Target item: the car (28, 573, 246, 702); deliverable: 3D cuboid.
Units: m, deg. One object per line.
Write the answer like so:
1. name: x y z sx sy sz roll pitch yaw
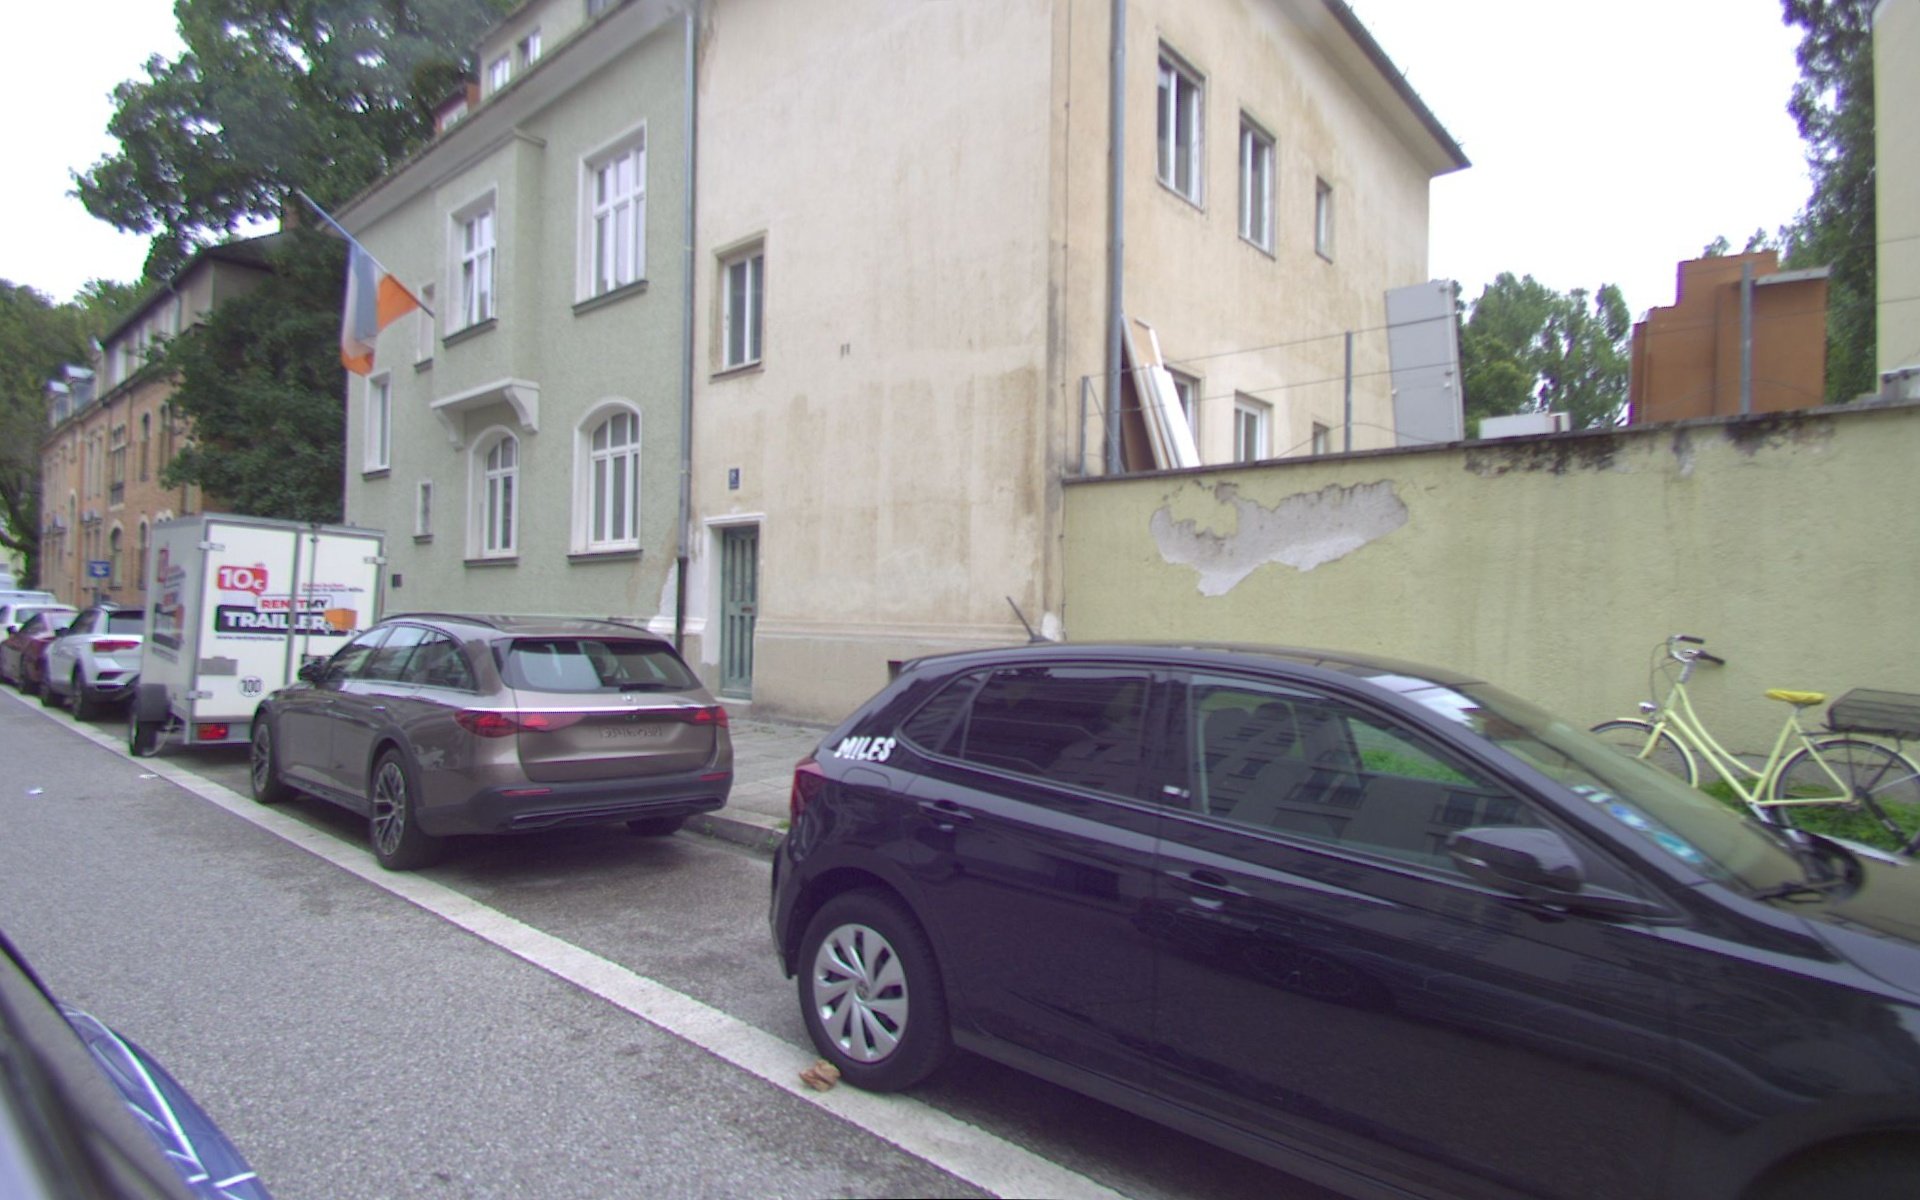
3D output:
1. car: -11.886 0.498 14.537 3.919 1.615 1.669 1 -3 41

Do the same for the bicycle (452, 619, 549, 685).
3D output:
1. bicycle: -7.112 0.775 15.619 1.926 0.913 0.517 1 2 38

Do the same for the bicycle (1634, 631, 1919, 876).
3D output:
1. bicycle: 4.828 0.795 5.577 1.777 1.201 0.670 0 0 43

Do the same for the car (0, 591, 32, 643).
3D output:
1. car: -28.421 0.443 29.364 4.143 1.454 1.672 0 -3 41

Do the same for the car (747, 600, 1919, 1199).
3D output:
1. car: 1.305 0.741 2.830 3.820 1.457 1.684 0 -1 39

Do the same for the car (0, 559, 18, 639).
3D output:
1. car: -32.507 -0.096 33.030 5.221 2.497 1.961 1 -3 41

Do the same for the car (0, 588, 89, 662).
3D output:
1. car: -20.002 0.507 21.659 3.310 1.477 1.458 1 -2 40

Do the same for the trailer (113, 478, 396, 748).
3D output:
1. trailer: -8.096 0.153 11.442 4.388 2.480 1.690 0 -3 44

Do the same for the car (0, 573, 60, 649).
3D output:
1. car: -24.698 0.255 26.025 4.142 1.817 1.673 1 -3 40

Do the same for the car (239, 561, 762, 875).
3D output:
1. car: -3.508 0.600 7.214 4.542 1.550 1.747 1 -3 43

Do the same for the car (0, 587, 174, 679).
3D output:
1. car: -15.930 0.557 18.194 4.329 1.423 1.842 2 -2 39
